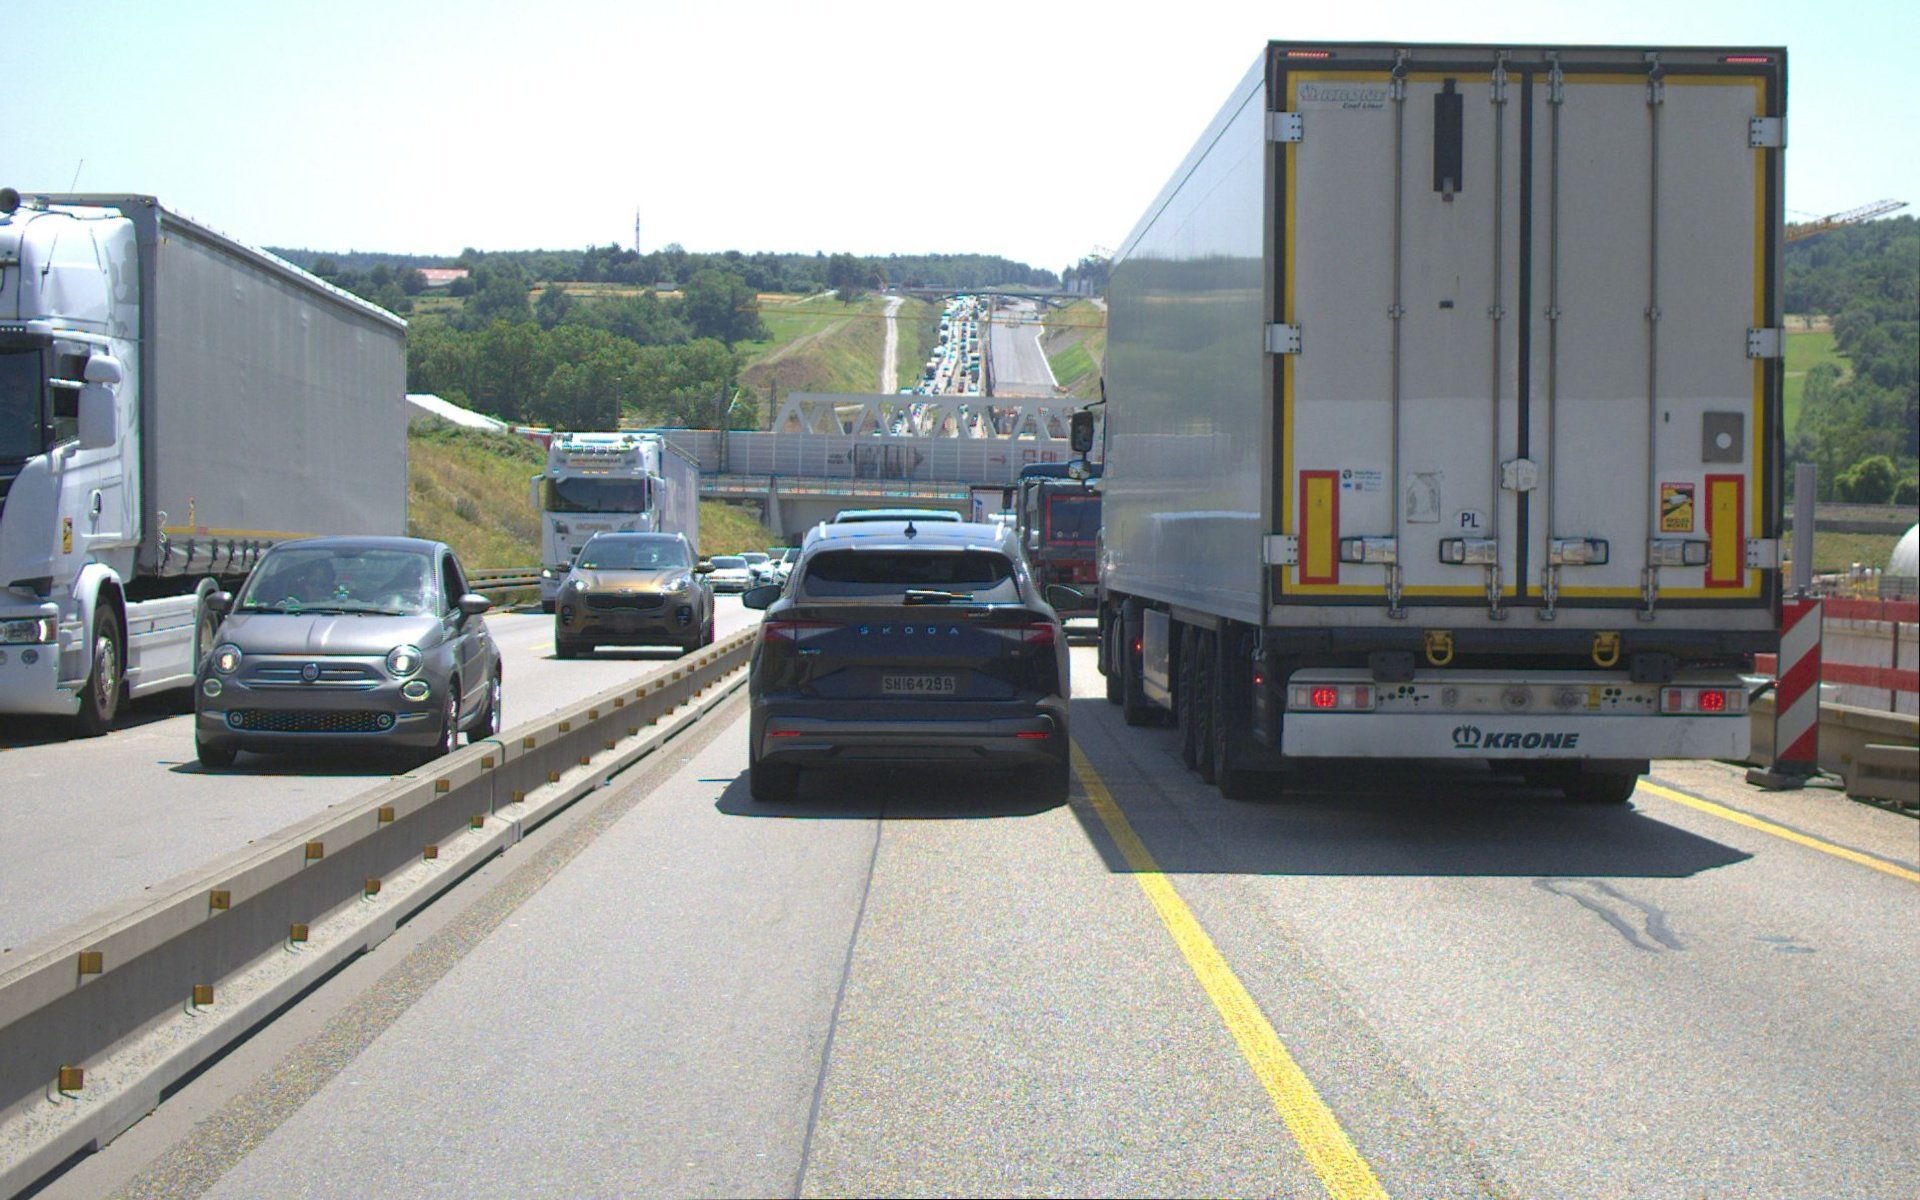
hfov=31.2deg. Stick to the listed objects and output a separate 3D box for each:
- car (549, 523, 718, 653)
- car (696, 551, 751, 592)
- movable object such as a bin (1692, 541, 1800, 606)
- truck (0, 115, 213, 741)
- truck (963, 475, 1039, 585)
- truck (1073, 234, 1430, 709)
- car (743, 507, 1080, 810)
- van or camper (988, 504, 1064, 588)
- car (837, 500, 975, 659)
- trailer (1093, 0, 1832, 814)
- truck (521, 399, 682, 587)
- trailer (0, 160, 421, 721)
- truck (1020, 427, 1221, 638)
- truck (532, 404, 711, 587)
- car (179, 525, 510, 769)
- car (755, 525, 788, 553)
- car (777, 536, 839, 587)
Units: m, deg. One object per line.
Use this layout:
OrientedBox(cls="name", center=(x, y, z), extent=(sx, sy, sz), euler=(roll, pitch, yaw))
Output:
OrientedBox(cls="car", center=(-4.220, -0.190, 44.961), extent=(1.848, 1.581, 4.174), euler=(1, 1, -1))
OrientedBox(cls="car", center=(-8.299, -1.018, 120.719), extent=(1.701, 1.374, 3.967), euler=(1, 1, -1))
OrientedBox(cls="movable object such as a bin", center=(36.730, -1.274, 161.039), extent=(2.887, 2.899, 9.479), euler=(1, 1, 0))
OrientedBox(cls="truck", center=(-7.507, -1.239, 25.859), extent=(2.774, 4.272, 4.677), euler=(1, 1, -1))
OrientedBox(cls="truck", center=(1.522, -2.656, 129.874), extent=(2.517, 3.946, 7.600), euler=(2, 1, -1))
OrientedBox(cls="truck", center=(2.574, -1.118, 31.845), extent=(2.776, 4.044, 4.905), euler=(0, 0, -1))
OrientedBox(cls="car", center=(-0.273, 0.278, 20.209), extent=(1.800, 1.615, 3.298), euler=(1, 1, 0))
OrientedBox(cls="van or camper", center=(1.824, -1.527, 96.721), extent=(1.993, 2.237, 4.000), euler=(2, 1, 0))
OrientedBox(cls="car", center=(-0.610, -0.268, 40.986), extent=(1.475, 1.789, 3.297), euler=(1, 1, 1))
OrientedBox(cls="trailer", center=(2.740, -1.045, 23.910), extent=(2.801, 4.044, 14.117), euler=(0, 0, -1))
OrientedBox(cls="truck", center=(-8.109, -2.399, 78.311), extent=(3.239, 4.145, 4.247), euler=(0, 1, -1))
OrientedBox(cls="trailer", center=(-7.644, -1.369, 33.310), extent=(2.810, 4.272, 14.036), euler=(1, 1, -1))
OrientedBox(cls="truck", center=(2.506, -1.072, 57.743), extent=(2.814, 3.124, 12.838), euler=(0, 1, 0))
OrientedBox(cls="truck", center=(-8.238, -2.491, 85.537), extent=(3.243, 4.145, 13.979), euler=(0, 1, -1))
OrientedBox(cls="car", center=(-4.008, 0.259, 22.839), extent=(1.628, 1.474, 3.380), euler=(1, 1, -1))
OrientedBox(cls="car", center=(-9.623, -3.106, 175.483), extent=(1.646, 1.411, 4.001), euler=(0, 1, -3))
OrientedBox(cls="car", center=(-4.964, -1.284, 112.842), extent=(1.812, 1.632, 4.362), euler=(0, 1, 0))
